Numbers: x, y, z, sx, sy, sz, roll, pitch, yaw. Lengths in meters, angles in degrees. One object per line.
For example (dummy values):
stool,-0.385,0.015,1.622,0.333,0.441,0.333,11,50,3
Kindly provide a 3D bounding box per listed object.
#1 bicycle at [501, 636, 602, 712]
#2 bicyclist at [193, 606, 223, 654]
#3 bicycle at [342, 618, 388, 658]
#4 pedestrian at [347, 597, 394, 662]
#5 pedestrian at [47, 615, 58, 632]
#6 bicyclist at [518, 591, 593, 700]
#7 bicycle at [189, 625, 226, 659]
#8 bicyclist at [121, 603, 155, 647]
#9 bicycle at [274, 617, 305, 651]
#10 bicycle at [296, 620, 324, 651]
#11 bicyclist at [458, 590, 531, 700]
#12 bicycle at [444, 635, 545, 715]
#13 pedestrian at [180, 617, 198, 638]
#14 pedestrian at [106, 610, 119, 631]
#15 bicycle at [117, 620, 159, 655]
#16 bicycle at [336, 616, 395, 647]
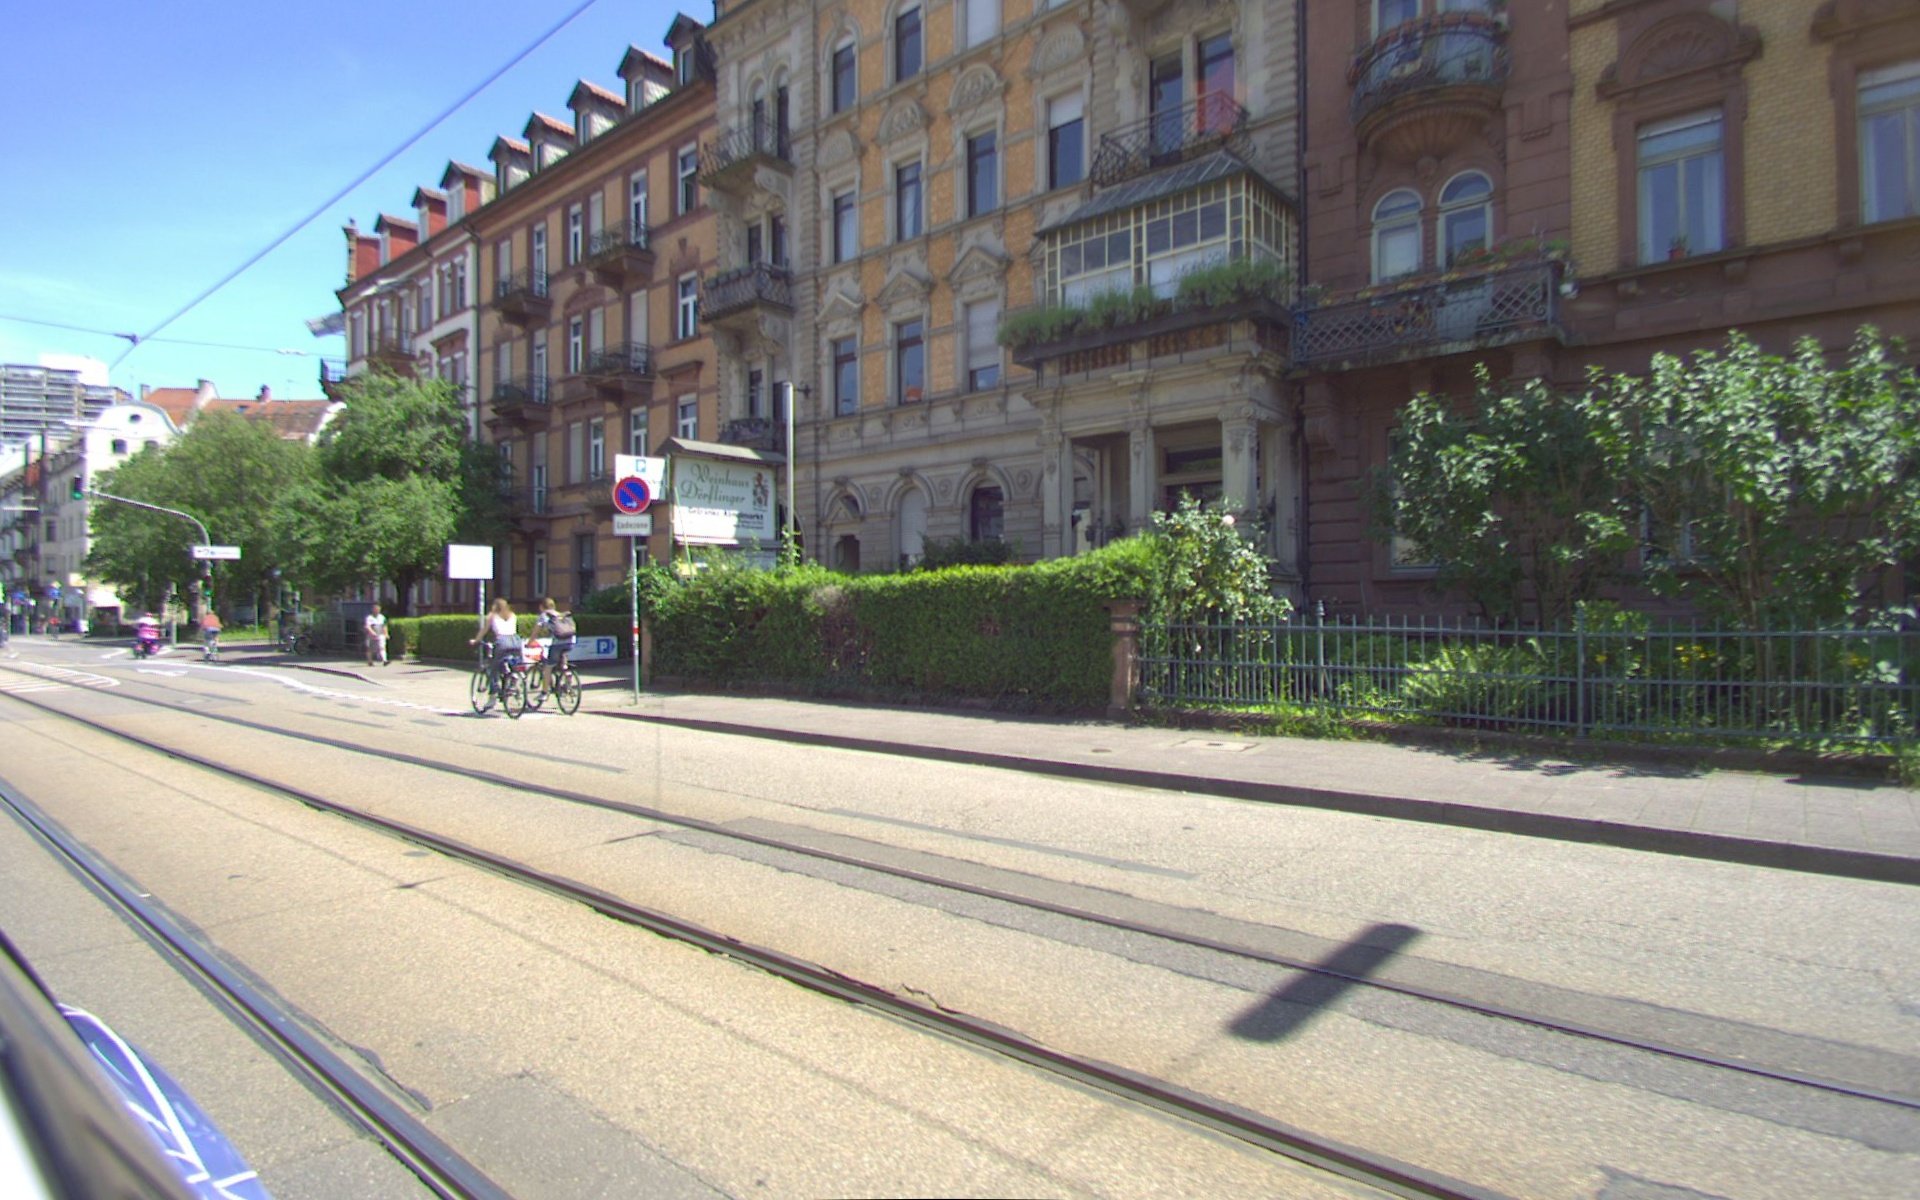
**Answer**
bicycle,-6.295,1.110,15.541,1.874,1.086,0.622,-1,-3,40
bicyclist,-24.178,0.971,32.529,0.891,1.527,0.556,-2,-2,41
bicycle,-17.326,1.104,29.442,1.931,1.101,0.631,-2,0,44
pedestrian,-15.848,0.785,27.192,0.861,1.713,1.014,2,-2,-43
pedestrian,-75.648,1.972,84.367,0.519,1.452,0.531,-1,-2,31
bicyclist,-6.192,0.692,15.477,1.027,1.596,0.627,-2,-3,40
bicycle,-24.177,1.335,32.514,1.828,1.046,0.562,-1,-2,41
bicyclist,-31.089,0.961,38.264,0.980,1.642,0.799,-2,-2,41
bicycle,-24.156,1.217,36.465,1.716,1.178,0.566,-2,-2,44
bicycle,-22.515,1.219,35.070,1.565,1.064,0.454,-2,-2,44
bicyclist,-6.815,0.656,14.815,0.951,1.556,0.586,-2,-3,40
bicycle,-6.828,1.067,14.807,1.889,1.086,0.575,-1,-3,40
pedestrian,-49.417,1.787,64.852,0.811,1.327,0.653,2,-2,-43
pedestrian,-59.732,1.471,71.347,0.519,1.452,0.531,-1,-2,31
bicycle,-31.098,1.419,38.250,2.549,1.281,0.799,-1,-2,41
bicycle,-19.862,1.048,33.845,0.495,1.004,1.629,-2,-2,42
